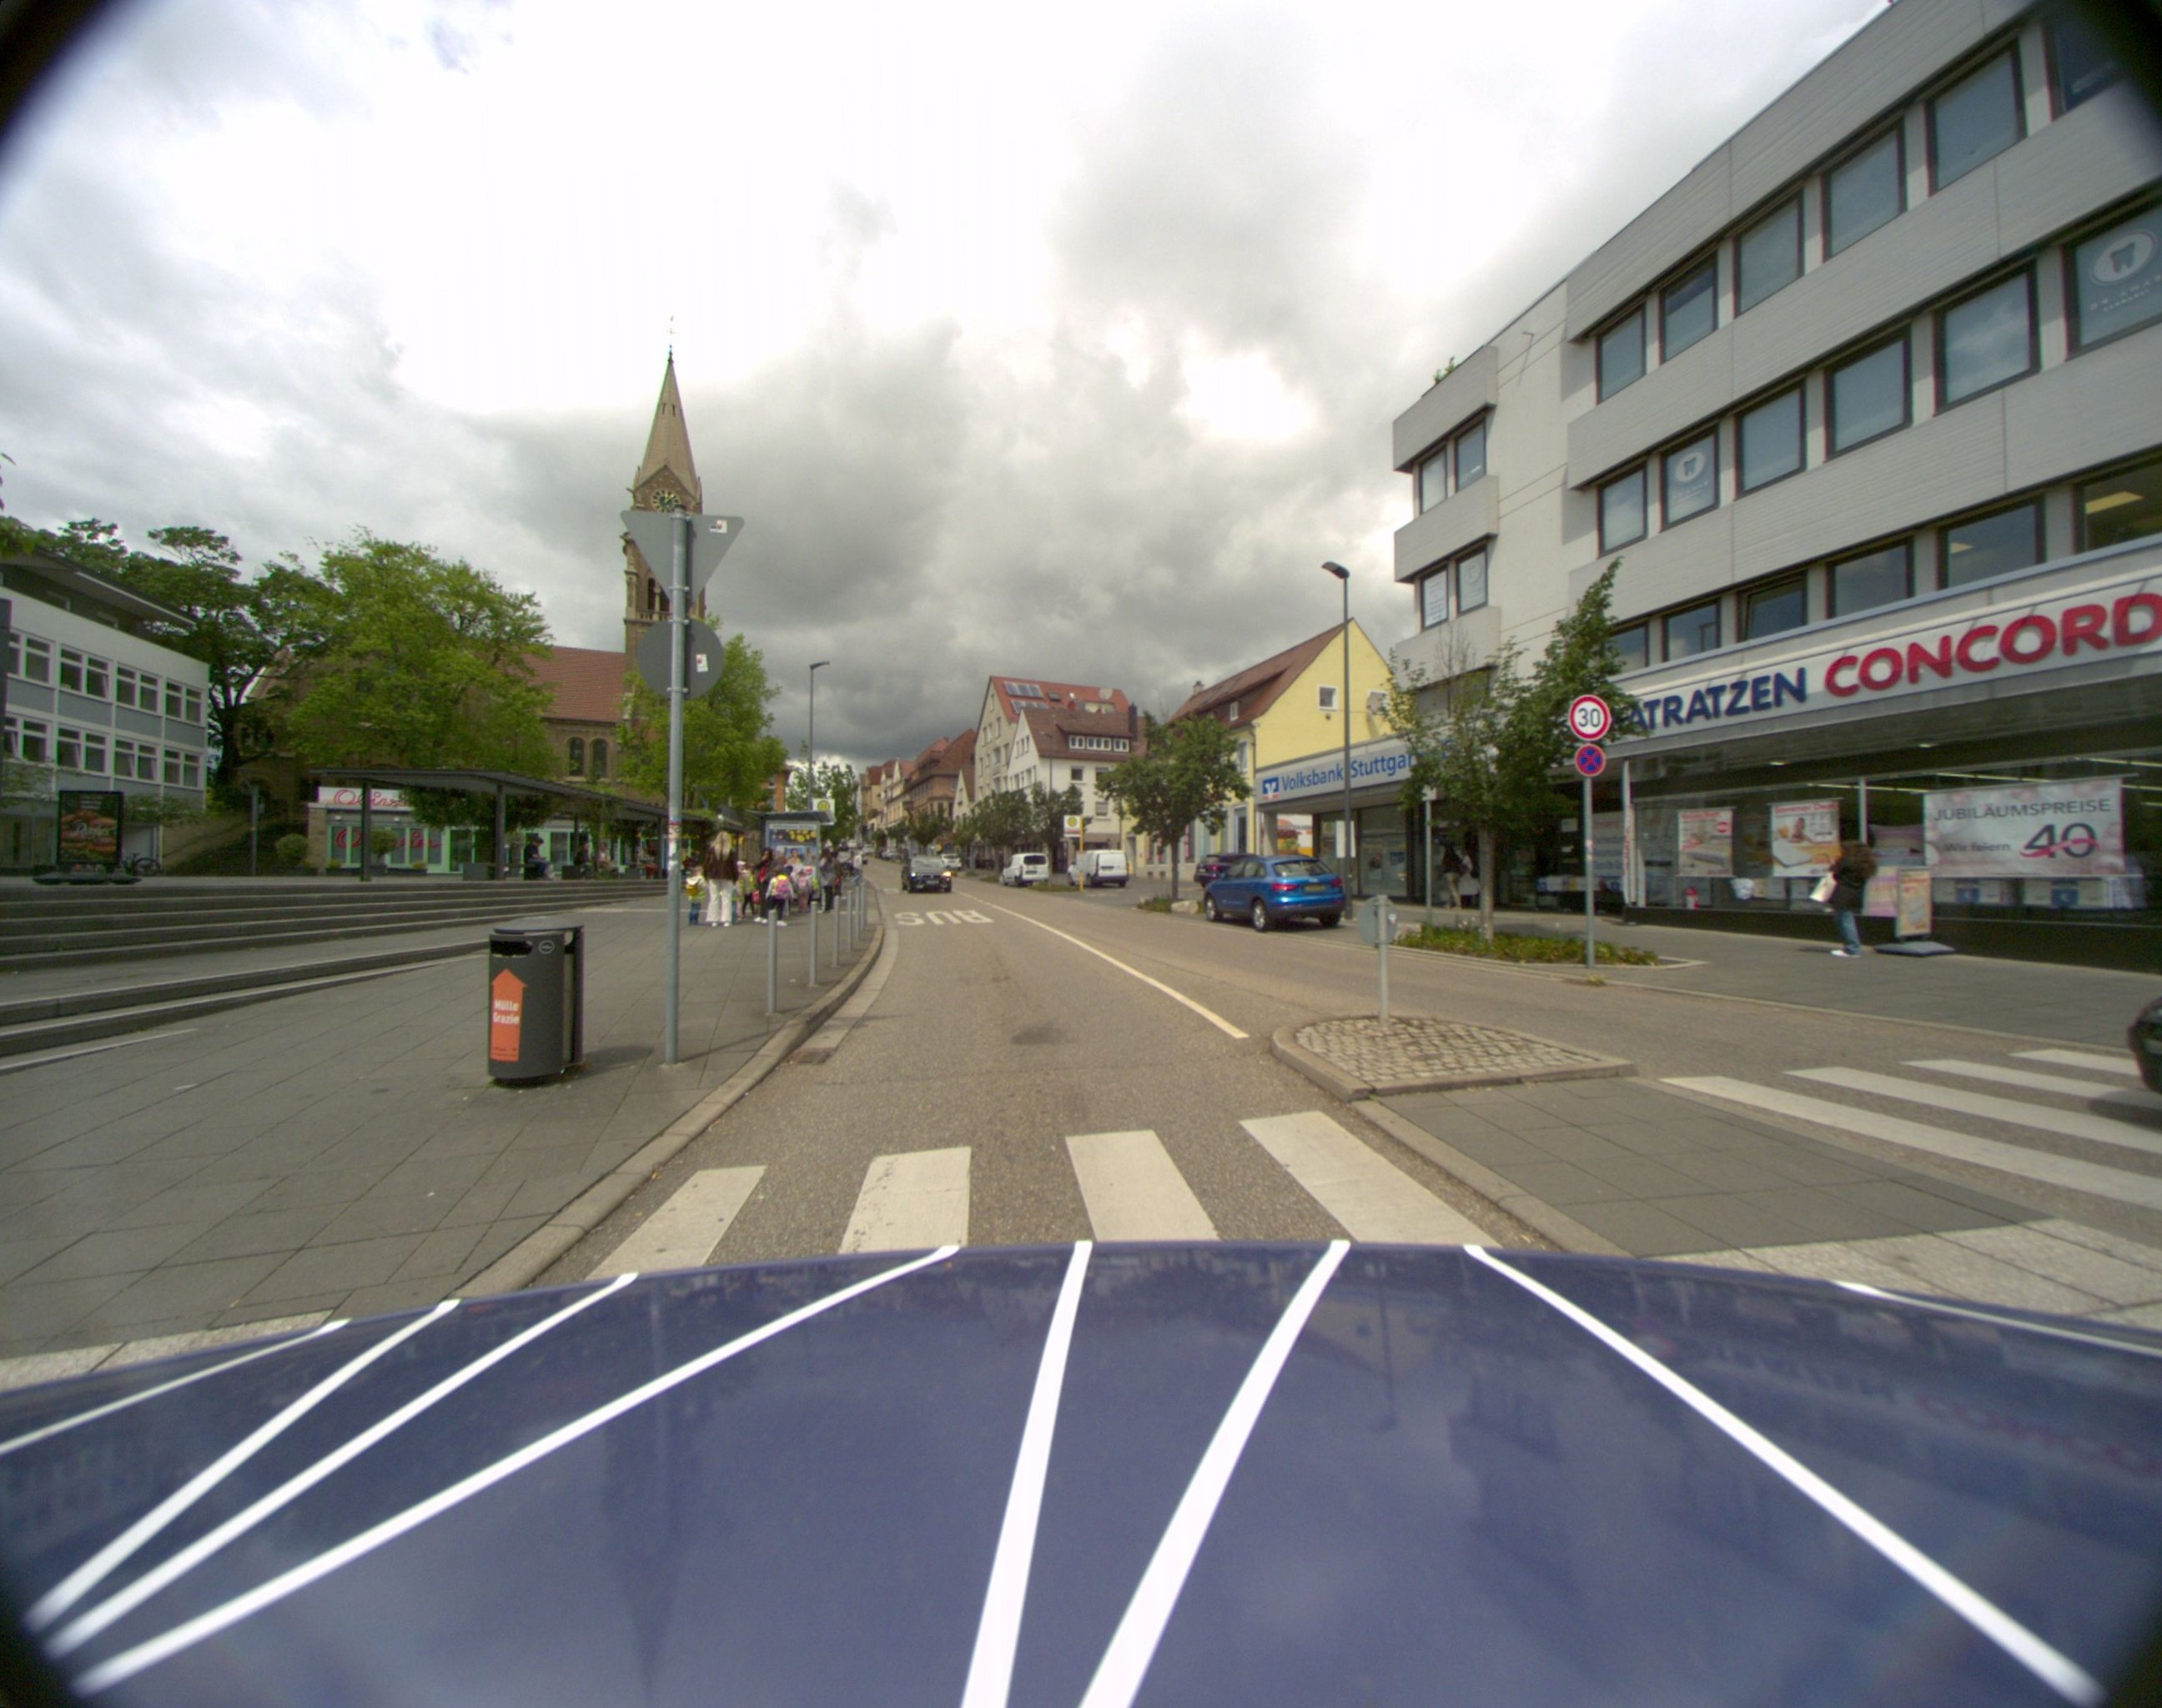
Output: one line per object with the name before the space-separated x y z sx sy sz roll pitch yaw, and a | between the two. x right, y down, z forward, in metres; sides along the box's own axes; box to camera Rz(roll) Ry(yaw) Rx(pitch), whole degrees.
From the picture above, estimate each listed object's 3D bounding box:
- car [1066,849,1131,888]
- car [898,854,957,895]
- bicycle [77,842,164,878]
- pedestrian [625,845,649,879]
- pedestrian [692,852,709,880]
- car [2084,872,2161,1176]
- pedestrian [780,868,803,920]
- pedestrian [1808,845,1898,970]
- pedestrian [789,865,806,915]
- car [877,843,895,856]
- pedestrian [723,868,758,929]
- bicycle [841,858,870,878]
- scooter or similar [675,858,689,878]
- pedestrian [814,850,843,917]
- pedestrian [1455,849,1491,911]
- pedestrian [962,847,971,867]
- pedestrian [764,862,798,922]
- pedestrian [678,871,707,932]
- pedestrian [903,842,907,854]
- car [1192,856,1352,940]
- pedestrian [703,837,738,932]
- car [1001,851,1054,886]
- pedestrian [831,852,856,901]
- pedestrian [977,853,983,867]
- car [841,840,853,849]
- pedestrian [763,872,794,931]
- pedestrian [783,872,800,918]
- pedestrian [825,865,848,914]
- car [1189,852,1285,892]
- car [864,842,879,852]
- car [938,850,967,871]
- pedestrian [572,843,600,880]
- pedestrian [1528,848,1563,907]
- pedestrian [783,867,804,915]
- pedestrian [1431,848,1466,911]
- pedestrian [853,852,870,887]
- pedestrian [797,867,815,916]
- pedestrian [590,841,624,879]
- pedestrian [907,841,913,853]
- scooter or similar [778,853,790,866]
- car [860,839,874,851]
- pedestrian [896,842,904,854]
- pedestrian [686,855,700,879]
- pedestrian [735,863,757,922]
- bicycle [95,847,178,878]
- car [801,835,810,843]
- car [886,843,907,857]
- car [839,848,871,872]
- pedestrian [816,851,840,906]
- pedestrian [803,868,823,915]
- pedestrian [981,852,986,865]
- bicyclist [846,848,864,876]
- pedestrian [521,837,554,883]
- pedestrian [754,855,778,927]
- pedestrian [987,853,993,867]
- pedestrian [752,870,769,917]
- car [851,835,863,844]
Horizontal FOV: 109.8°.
car | 0.802 0.659 37.906 1.763 1.803 4.468 -2 1 -19
car | -6.841 0.867 33.572 1.898 1.516 3.727 -1 3 -22
bicycle | -37.168 0.243 29.459 0.686 1.299 2.032 1 -1 41
pedestrian | -17.252 0.326 29.529 0.626 1.300 0.545 1 0 -12
pedestrian | -17.655 0.563 35.240 0.570 1.254 0.541 1 -2 -12
car | 6.657 0.823 2.280 1.706 1.411 4.110 -1 1 -24
pedestrian | -6.680 0.922 17.542 0.350 1.160 0.336 4 1 42
pedestrian | 10.236 0.682 10.091 0.589 1.579 0.637 -1 1 -17
pedestrian | -6.819 0.863 18.262 0.250 1.167 0.253 2 0 32
car | -25.740 -0.646 100.023 1.671 1.518 3.954 -2 3 -24
pedestrian | -6.942 0.898 15.505 0.390 1.191 0.511 2 0 9
bicycle | -13.912 0.844 46.844 0.412 1.081 1.659 8 0 38
scooter or similar | -17.810 0.612 33.891 0.249 0.888 0.508 0 -2 14
pedestrian | -6.214 0.722 18.706 0.387 1.610 0.470 2 0 32
pedestrian | 10.003 0.659 19.395 0.512 1.557 0.586 1 0 -16
pedestrian | -10.384 0.292 68.743 0.663 1.751 0.776 -1 3 -24
pedestrian | -6.759 0.848 17.096 0.597 1.296 0.434 3 1 40
pedestrian | -7.436 0.903 14.568 0.441 1.141 0.382 2 0 -23
pedestrian | -23.226 -0.802 100.196 0.498 1.469 0.527 -1 3 -24
car | 4.218 0.886 17.556 1.700 1.590 4.326 -3 1 -14
pedestrian | -7.003 0.589 14.781 0.542 1.812 0.435 2 0 -24
car | -2.883 0.697 39.920 1.663 1.662 4.343 -1 1 -20
pedestrian | -7.494 0.702 23.936 0.542 1.540 0.487 1 0 28
pedestrian | -9.402 0.552 70.507 0.423 1.292 0.453 -1 1 -21
car | -37.817 -1.581 122.789 1.614 1.380 3.622 2 1 -20
pedestrian | -6.082 0.947 15.283 0.477 1.165 0.390 2 0 -30
pedestrian | -6.820 0.961 17.891 0.252 1.062 0.251 2 0 0
pedestrian | -6.239 0.905 19.381 0.403 1.219 0.388 1 0 6
car | 6.591 0.733 32.217 3.642 1.549 1.666 -1 1 -18
car | -30.994 -1.089 112.521 1.735 1.423 3.495 0 2 -22
car | -10.624 0.490 62.748 1.672 1.637 4.126 -1 1 -19
pedestrian | -16.487 0.248 25.293 0.569 1.220 0.566 0 1 -7
pedestrian | 13.466 0.678 22.027 0.646 1.694 0.585 1 -2 -26
pedestrian | -7.051 0.905 18.614 0.321 1.145 0.319 2 0 35
pedestrian | 9.294 0.642 19.215 0.644 1.557 0.587 1 0 13
pedestrian | -10.647 0.745 36.888 0.686 1.672 0.714 1 1 -6
pedestrian | -6.700 0.908 18.525 0.270 1.154 0.265 2 0 31
pedestrian | -16.367 0.203 26.254 0.769 1.262 0.677 0 1 25
pedestrian | -22.586 -0.938 100.367 0.616 1.573 0.640 -1 3 -24
scooter or similar | -24.910 0.470 63.740 0.815 1.066 0.559 1 2 -10
car | -33.593 -1.416 119.338 1.735 1.670 3.983 0 2 -22
pedestrian | -24.177 -0.812 101.471 0.874 1.657 0.904 0 3 -24
pedestrian | -17.652 0.585 34.582 0.477 1.082 0.368 1 -2 -12
pedestrian | -7.199 0.819 16.322 0.324 1.230 0.334 3 0 -12
bicycle | -37.944 0.342 30.560 0.686 1.135 2.032 1 -2 41
car | -56.020 -3.077 154.356 1.693 1.366 3.521 1 2 -22
car | -22.697 -0.453 93.281 1.733 1.565 4.444 0 2 -24
car | -17.729 0.449 59.491 1.937 1.714 4.564 1 0 -22
pedestrian | -7.231 0.696 21.716 0.502 1.557 0.496 1 0 -36
pedestrian | -6.648 0.922 18.836 0.297 1.145 0.294 2 0 24
pedestrian | -9.264 0.441 72.042 0.396 1.242 0.499 -1 1 -21
bicyclist | -13.935 0.496 46.848 0.508 1.683 0.780 1 -5 39
pedestrian | -15.907 0.167 22.258 0.569 1.316 0.545 0 1 -7
pedestrian | -6.675 0.776 16.083 0.391 1.508 0.389 2 0 -28
pedestrian | -8.511 0.542 70.905 0.429 1.242 0.565 -1 1 -21
pedestrian | -7.428 0.912 17.602 0.251 1.062 0.252 2 0 -6
car | -39.998 -2.620 135.714 1.693 1.516 3.521 0 2 -22
